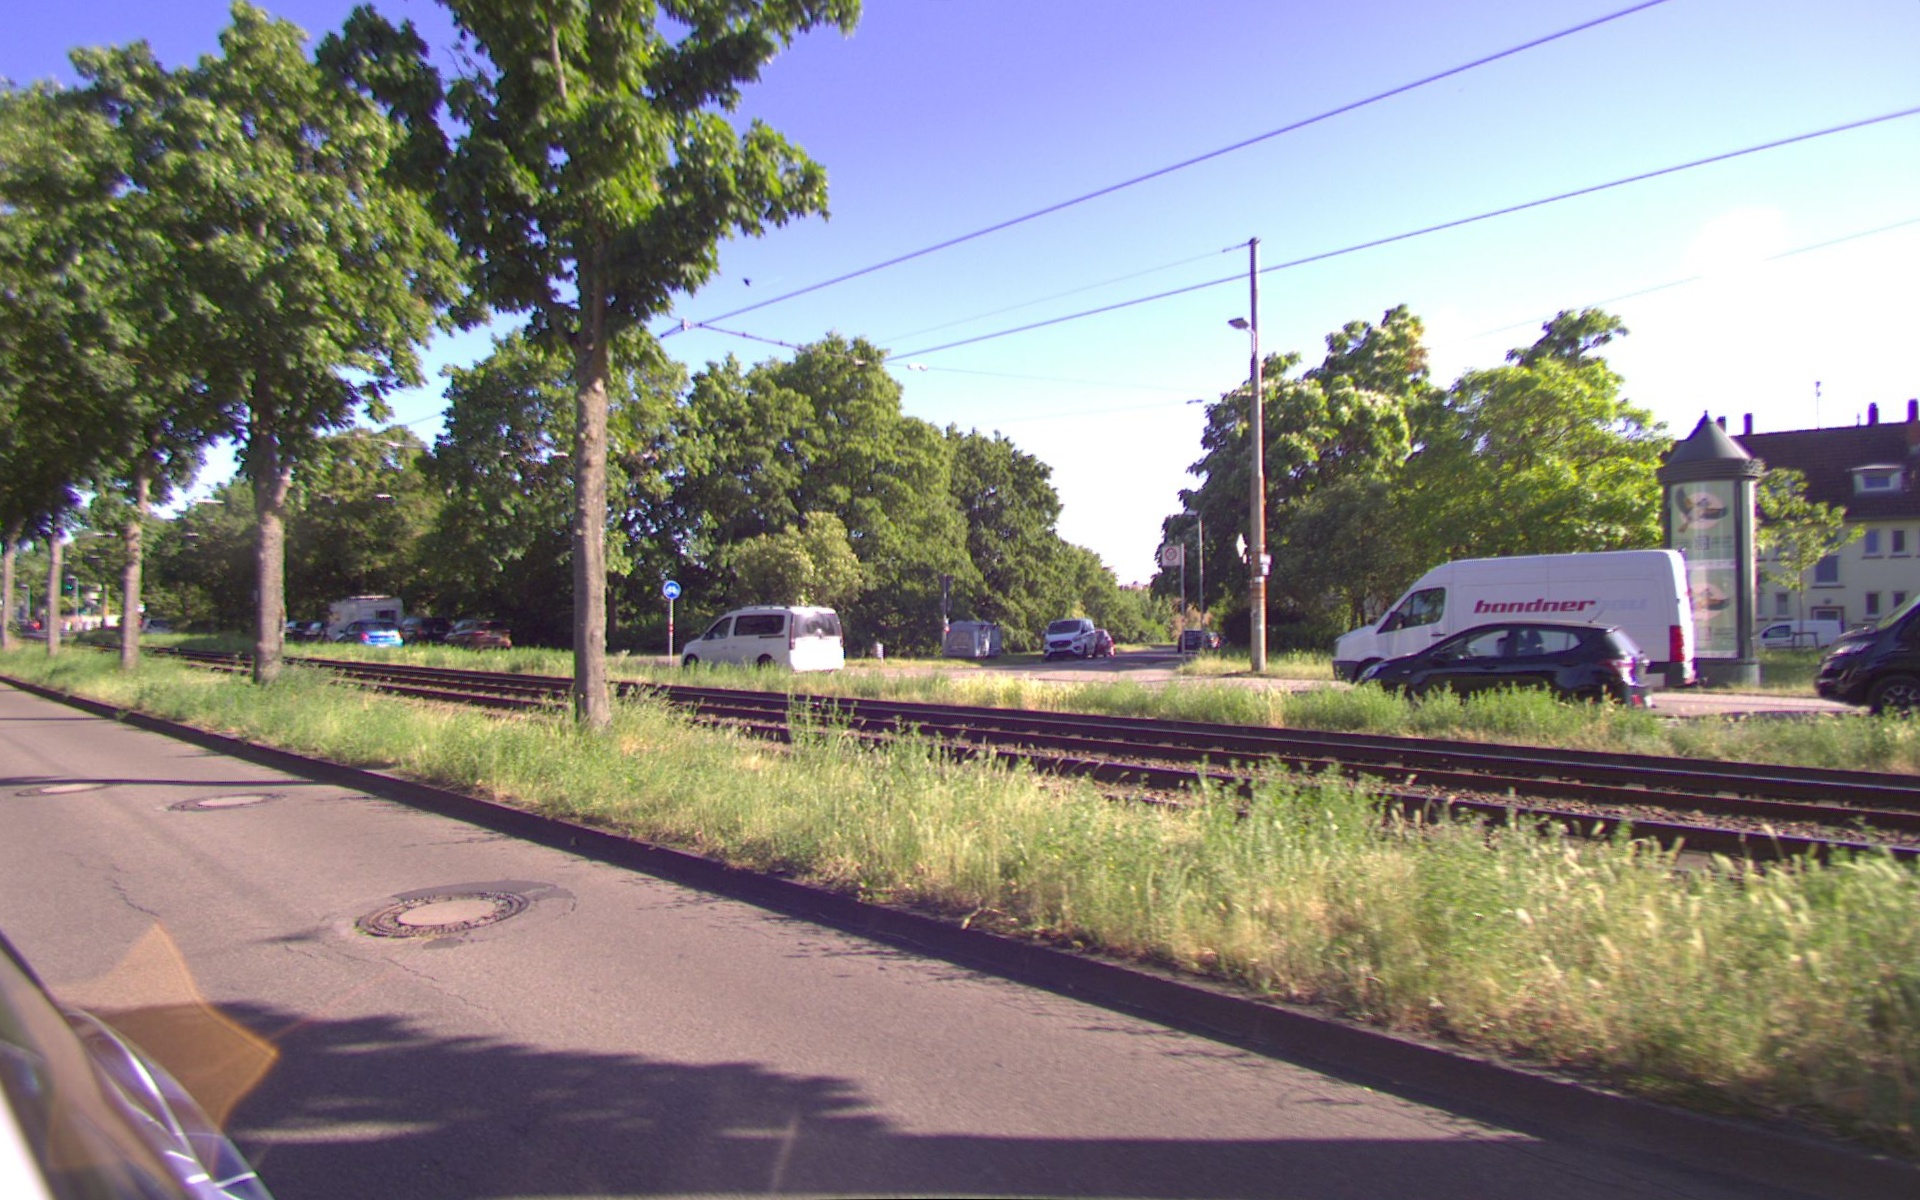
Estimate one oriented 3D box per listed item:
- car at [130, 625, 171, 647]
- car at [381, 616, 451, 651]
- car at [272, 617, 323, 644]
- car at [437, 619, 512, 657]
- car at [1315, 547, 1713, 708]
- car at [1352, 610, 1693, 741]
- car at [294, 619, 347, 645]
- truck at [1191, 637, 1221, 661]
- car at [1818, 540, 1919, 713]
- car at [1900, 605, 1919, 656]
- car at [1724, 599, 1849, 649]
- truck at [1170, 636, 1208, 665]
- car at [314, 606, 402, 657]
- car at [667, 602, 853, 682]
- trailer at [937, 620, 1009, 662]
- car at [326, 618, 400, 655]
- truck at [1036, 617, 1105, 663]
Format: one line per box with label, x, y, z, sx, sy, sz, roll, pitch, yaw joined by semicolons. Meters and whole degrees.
car;-62.241;2.765;77.786;4.441;1.539;1.709;0;1;42
car;-27.734;1.691;51.559;4.530;1.635;1.606;0;1;41
car;-42.262;1.924;64.509;4.282;1.575;1.748;0;0;43
car;-22.383;1.714;46.586;4.248;1.596;1.656;0;1;43
car;9.929;0.428;18.569;6.133;2.515;1.981;0;1;41
car;7.658;0.931;13.946;3.750;1.543;1.972;-1;-1;42
car;-38.709;1.895;61.254;3.999;1.445;1.692;0;1;42
truck;18.496;3.642;76.024;1.709;1.547;3.528;-1;1;22
car;15.605;0.331;13.387;6.461;2.394;2.160;0;1;41
car;40.768;1.223;40.791;3.992;2.029;1.976;-1;1;36
car;35.915;1.015;44.111;3.987;2.029;1.978;0;1;33
truck;15.439;3.363;68.001;1.874;1.686;3.866;-1;1;22
car;-33.562;1.735;56.298;6.795;2.600;2.202;-1;0;41
car;-4.993;0.948;24.800;4.979;1.757;1.792;0;1;41
trailer;0.580;1.621;40.932;1.741;1.515;3.733;-1;1;21
car;-25.110;1.512;42.546;3.818;1.405;1.541;0;1;41
truck;5.332;1.847;48.229;2.069;1.883;4.908;-1;1;21
